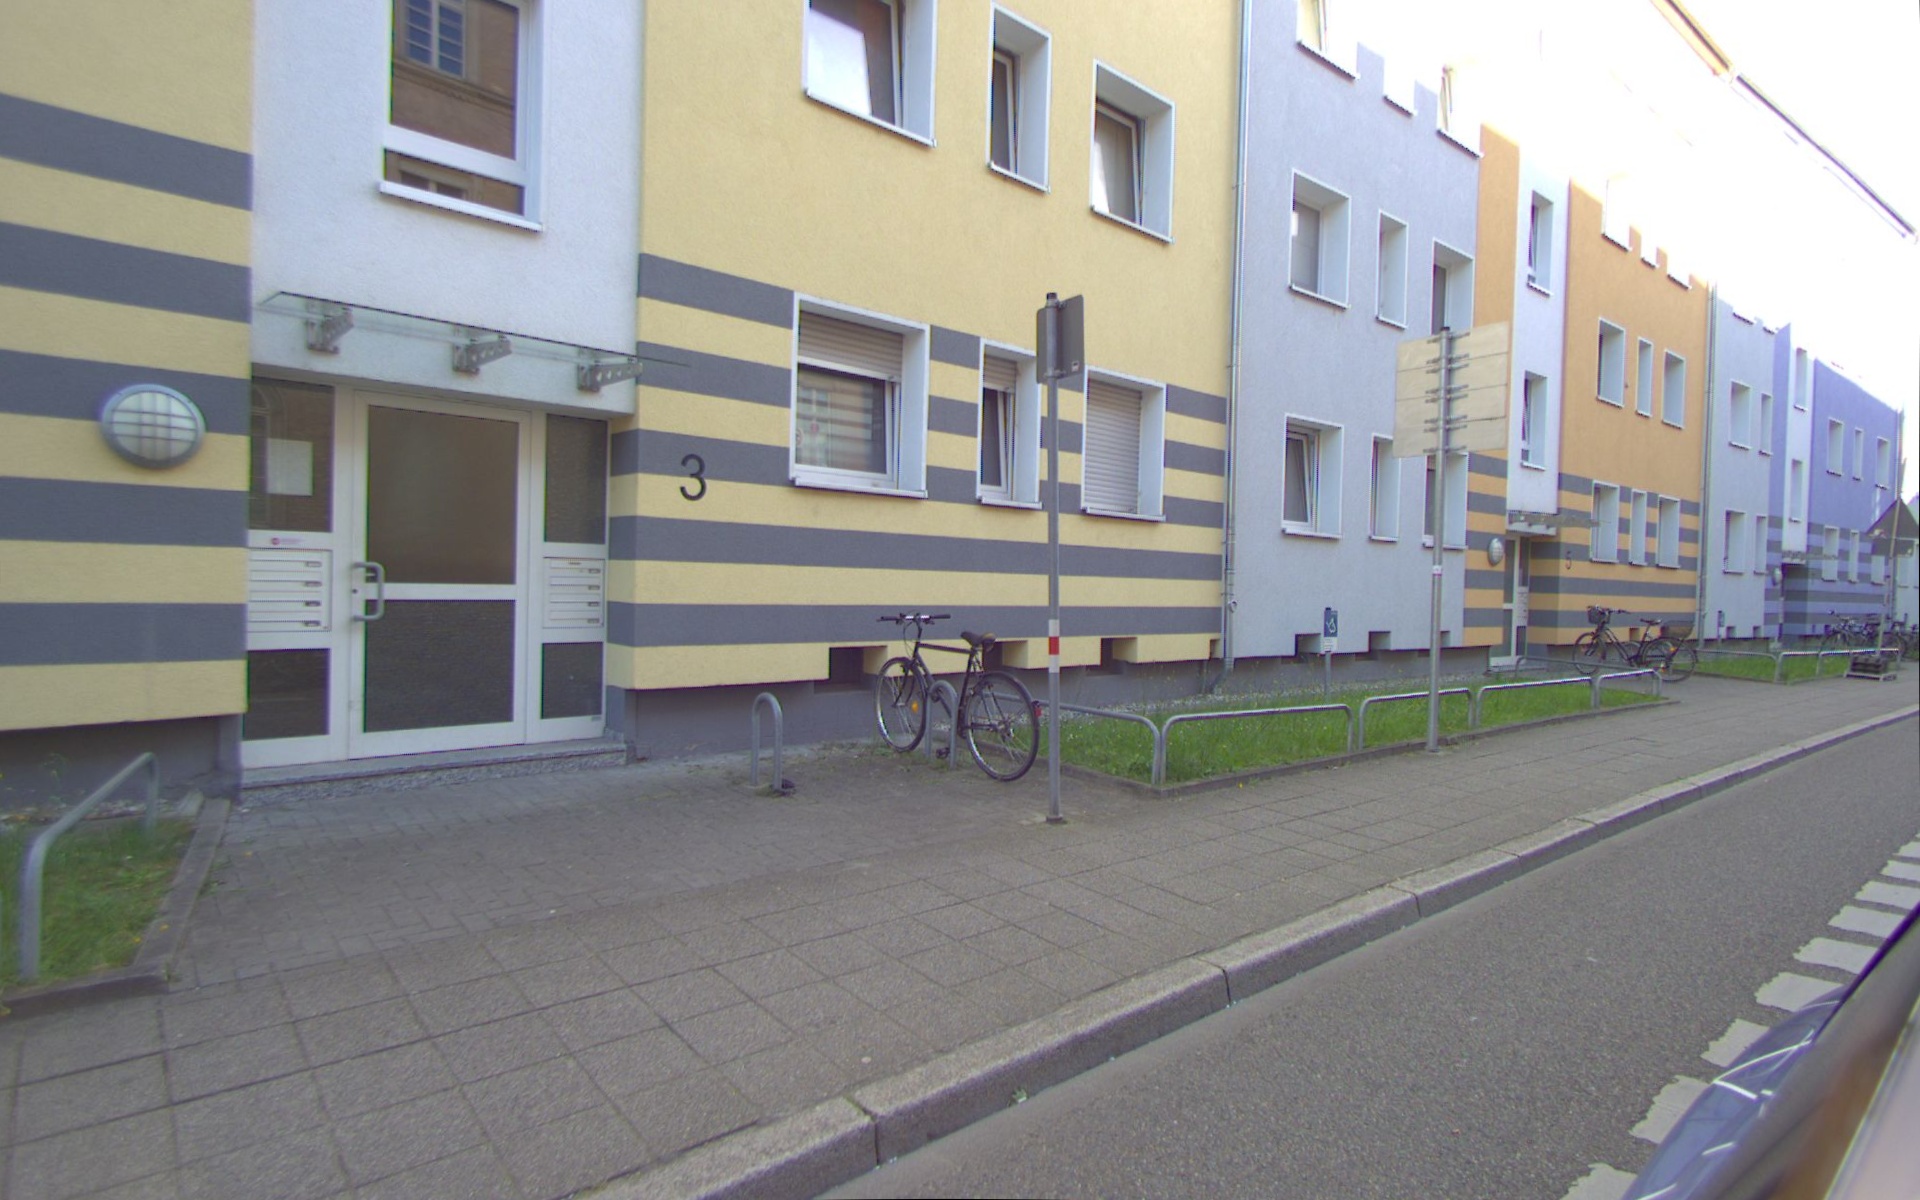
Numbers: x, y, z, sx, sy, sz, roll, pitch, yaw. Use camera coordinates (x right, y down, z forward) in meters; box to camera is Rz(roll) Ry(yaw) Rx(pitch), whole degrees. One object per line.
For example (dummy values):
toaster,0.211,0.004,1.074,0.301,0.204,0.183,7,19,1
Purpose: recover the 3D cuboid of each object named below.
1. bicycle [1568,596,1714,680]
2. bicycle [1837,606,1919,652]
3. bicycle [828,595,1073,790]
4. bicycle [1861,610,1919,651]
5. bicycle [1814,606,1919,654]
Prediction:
bicycle,10.694,0.564,15.954,0.574,1.138,1.775,0,4,-42
bicycle,23.356,0.727,25.482,0.572,1.007,1.779,1,3,-33
bicycle,-0.118,0.556,6.932,1.773,1.061,0.574,5,4,45
bicycle,24.059,0.783,25.590,0.572,0.950,1.779,1,3,-33
bicycle,22.193,0.724,24.812,0.572,1.007,1.779,1,3,-33
